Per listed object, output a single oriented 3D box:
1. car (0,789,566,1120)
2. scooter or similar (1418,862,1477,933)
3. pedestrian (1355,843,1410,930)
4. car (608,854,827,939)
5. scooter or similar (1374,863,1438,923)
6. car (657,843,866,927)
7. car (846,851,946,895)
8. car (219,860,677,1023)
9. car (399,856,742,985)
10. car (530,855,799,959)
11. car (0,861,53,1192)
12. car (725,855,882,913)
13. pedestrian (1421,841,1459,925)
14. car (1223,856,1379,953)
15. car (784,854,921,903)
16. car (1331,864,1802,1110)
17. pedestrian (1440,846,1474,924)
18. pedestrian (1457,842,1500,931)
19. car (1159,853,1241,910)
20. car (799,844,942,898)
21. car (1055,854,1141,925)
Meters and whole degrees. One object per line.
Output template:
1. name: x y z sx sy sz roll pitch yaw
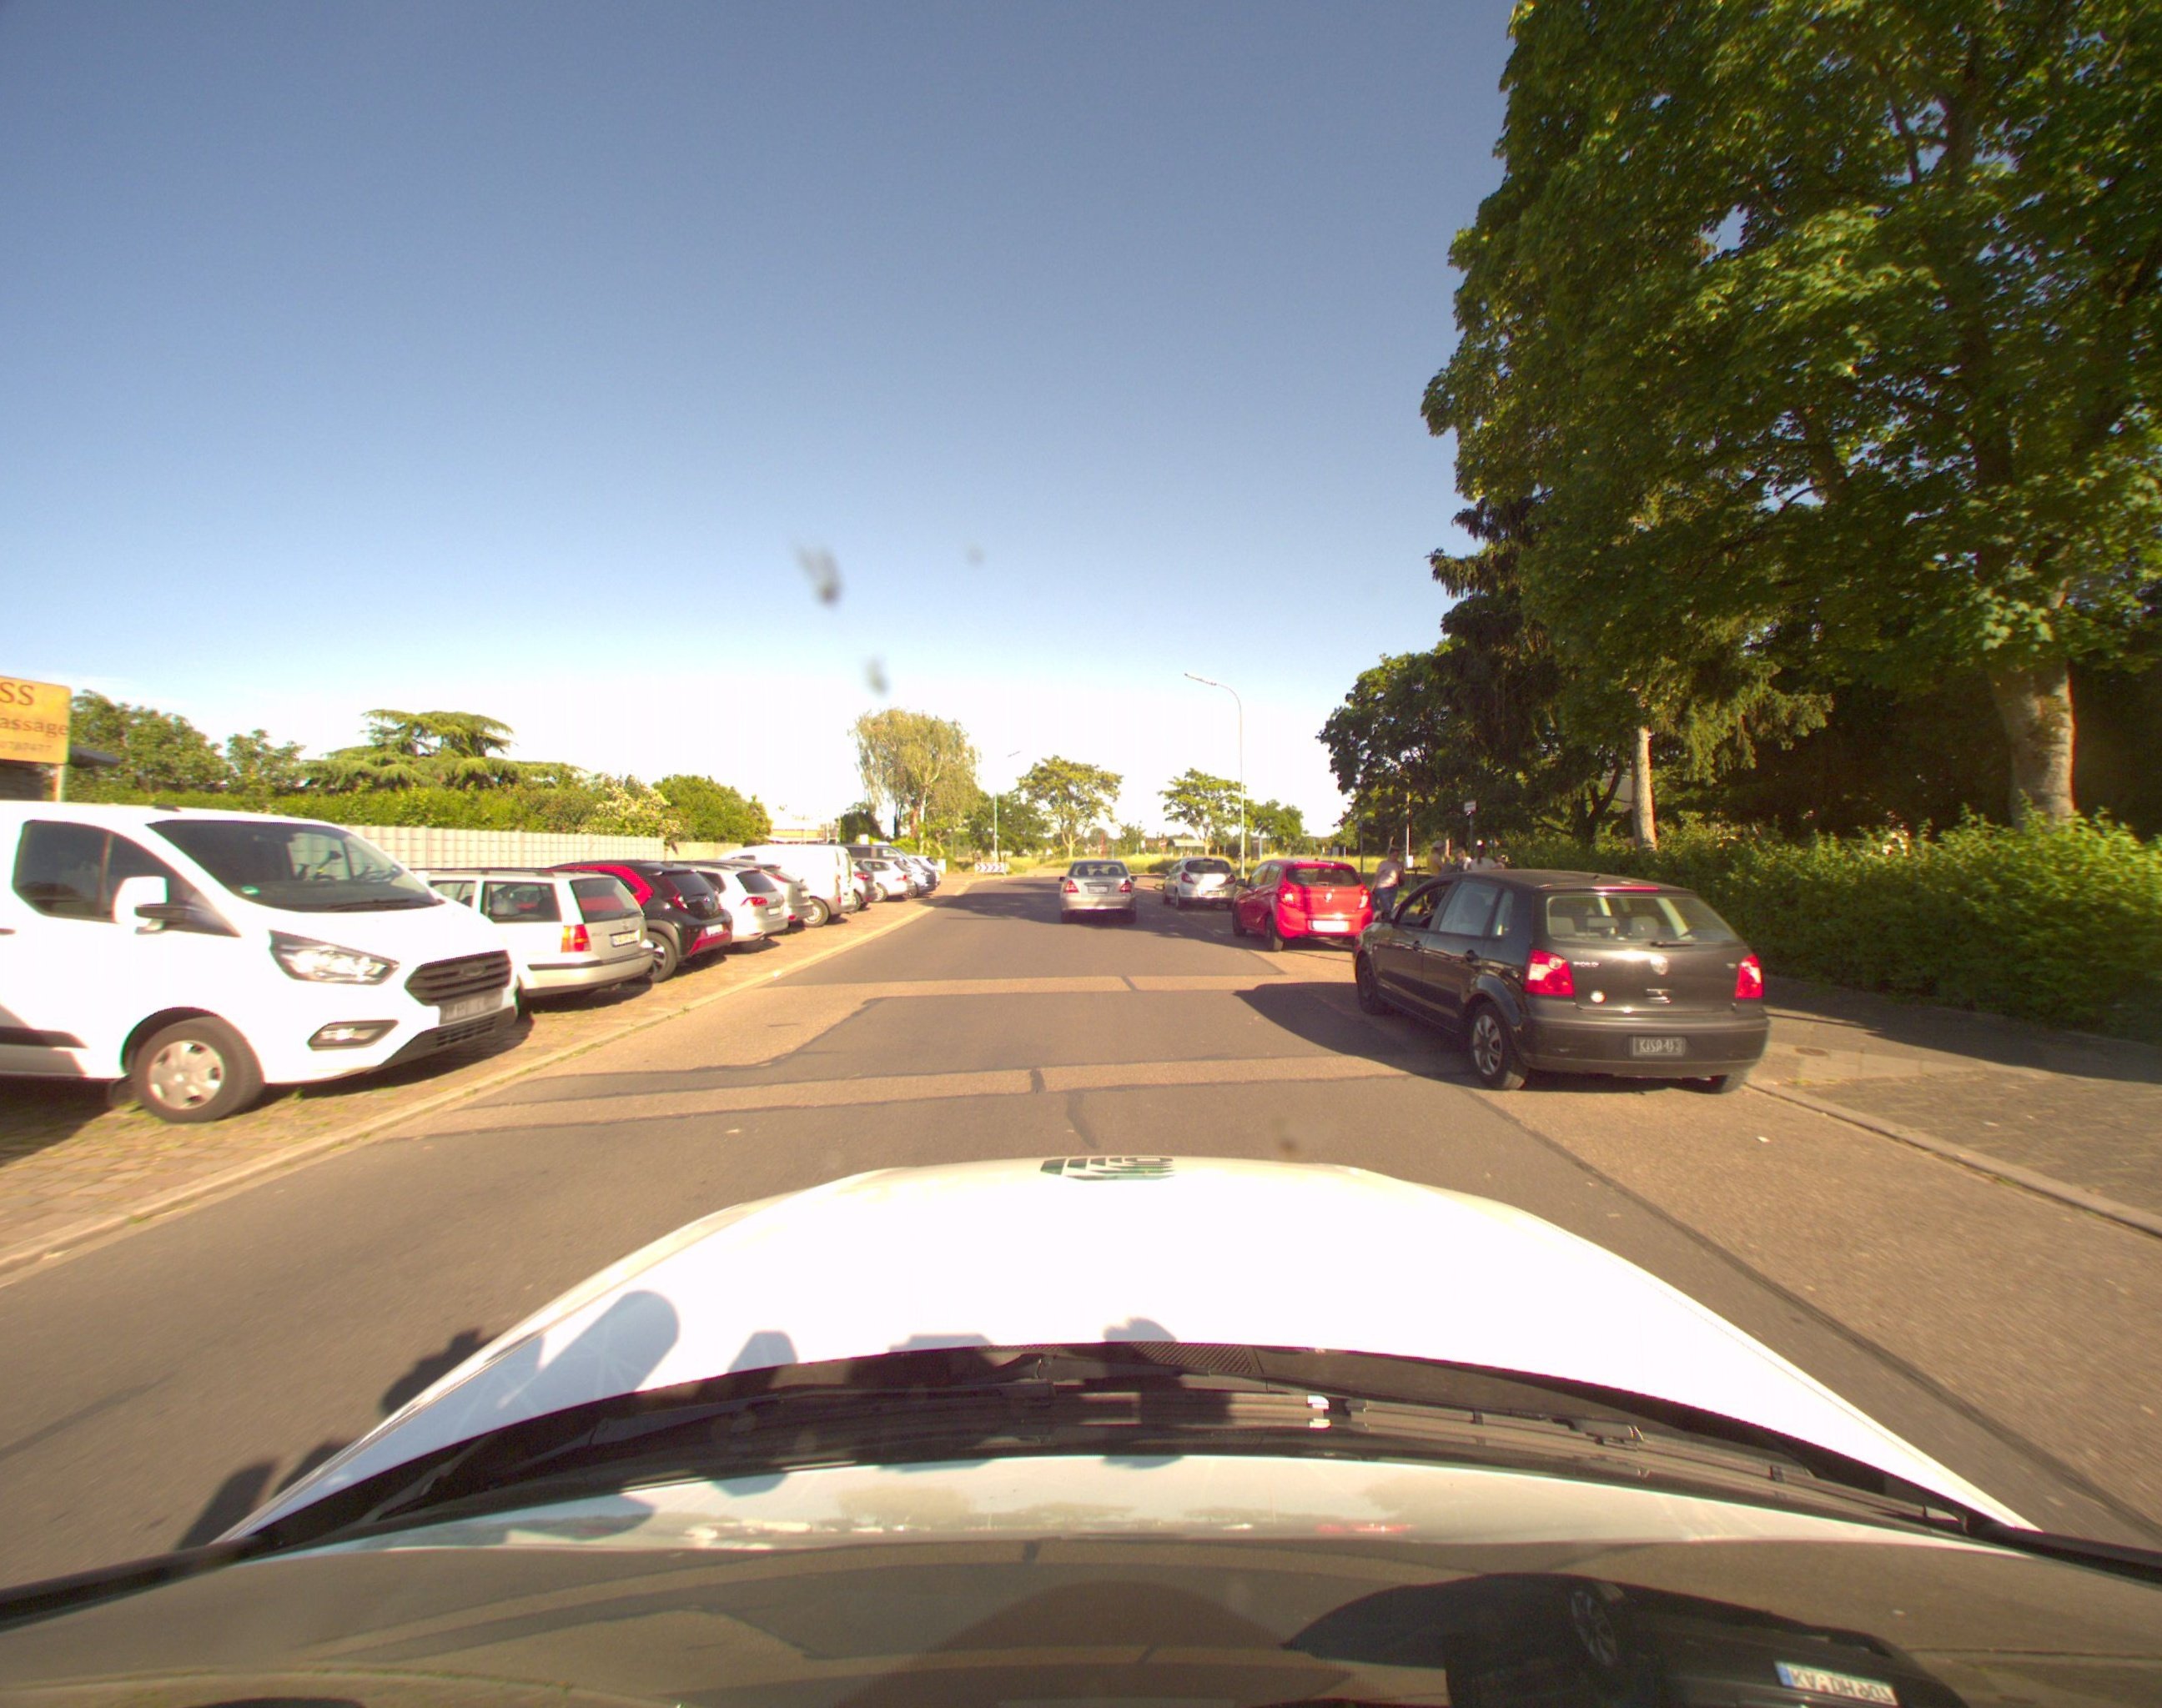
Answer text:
1. car: -6.851 0.573 5.912 4.773 1.921 2.081 2 -1 0
2. scooter or similar: 6.594 0.769 14.676 0.621 1.227 0.905 -1 -1 -1
3. pedestrian: 5.628 0.603 15.208 0.785 1.565 0.569 2 -1 -1
4. car: -7.137 0.812 16.222 3.500 1.489 1.728 2 -1 1
5. scooter or similar: 6.870 0.814 17.271 0.401 1.227 1.241 -1 -1 -31
6. car: -7.104 0.669 18.485 3.969 1.780 1.923 1 0 -4
7. car: -7.435 0.771 33.009 3.602 1.607 1.732 2 -1 -1
8. car: -6.467 0.844 8.609 3.500 1.446 1.637 2 -1 1
9. car: -6.656 0.837 10.924 3.505 1.489 1.635 1 1 -3
10. car: -6.716 0.831 13.394 3.500 1.489 1.637 2 -1 1
11. car: -7.196 0.760 3.196 3.970 1.583 1.885 2 -1 3
12. car: -7.663 0.816 22.797 3.809 1.532 1.785 0 -1 -7
13. pedestrian: 6.929 0.558 15.741 0.478 1.565 0.599 -2 -2 10
14. car: 3.658 0.787 14.209 1.571 1.446 3.785 1 -1 -3
15. car: -7.718 0.824 27.847 4.127 1.492 1.924 2 -1 -3
16. car: 3.494 0.817 6.796 1.641 1.403 3.882 2 -1 1
17. pedestrian: 7.458 0.607 16.165 0.360 1.503 0.500 -2 -2 -3
18. pedestrian: 7.179 0.583 14.716 0.484 1.565 0.468 -2 -2 -5
19. car: 3.442 0.765 24.157 1.727 1.543 3.785 1 -1 -3
20. car: -7.743 0.633 30.381 4.864 1.915 1.996 0 -1 -6
21. car: 0.374 0.766 19.493 1.810 1.463 4.361 1 0 0
